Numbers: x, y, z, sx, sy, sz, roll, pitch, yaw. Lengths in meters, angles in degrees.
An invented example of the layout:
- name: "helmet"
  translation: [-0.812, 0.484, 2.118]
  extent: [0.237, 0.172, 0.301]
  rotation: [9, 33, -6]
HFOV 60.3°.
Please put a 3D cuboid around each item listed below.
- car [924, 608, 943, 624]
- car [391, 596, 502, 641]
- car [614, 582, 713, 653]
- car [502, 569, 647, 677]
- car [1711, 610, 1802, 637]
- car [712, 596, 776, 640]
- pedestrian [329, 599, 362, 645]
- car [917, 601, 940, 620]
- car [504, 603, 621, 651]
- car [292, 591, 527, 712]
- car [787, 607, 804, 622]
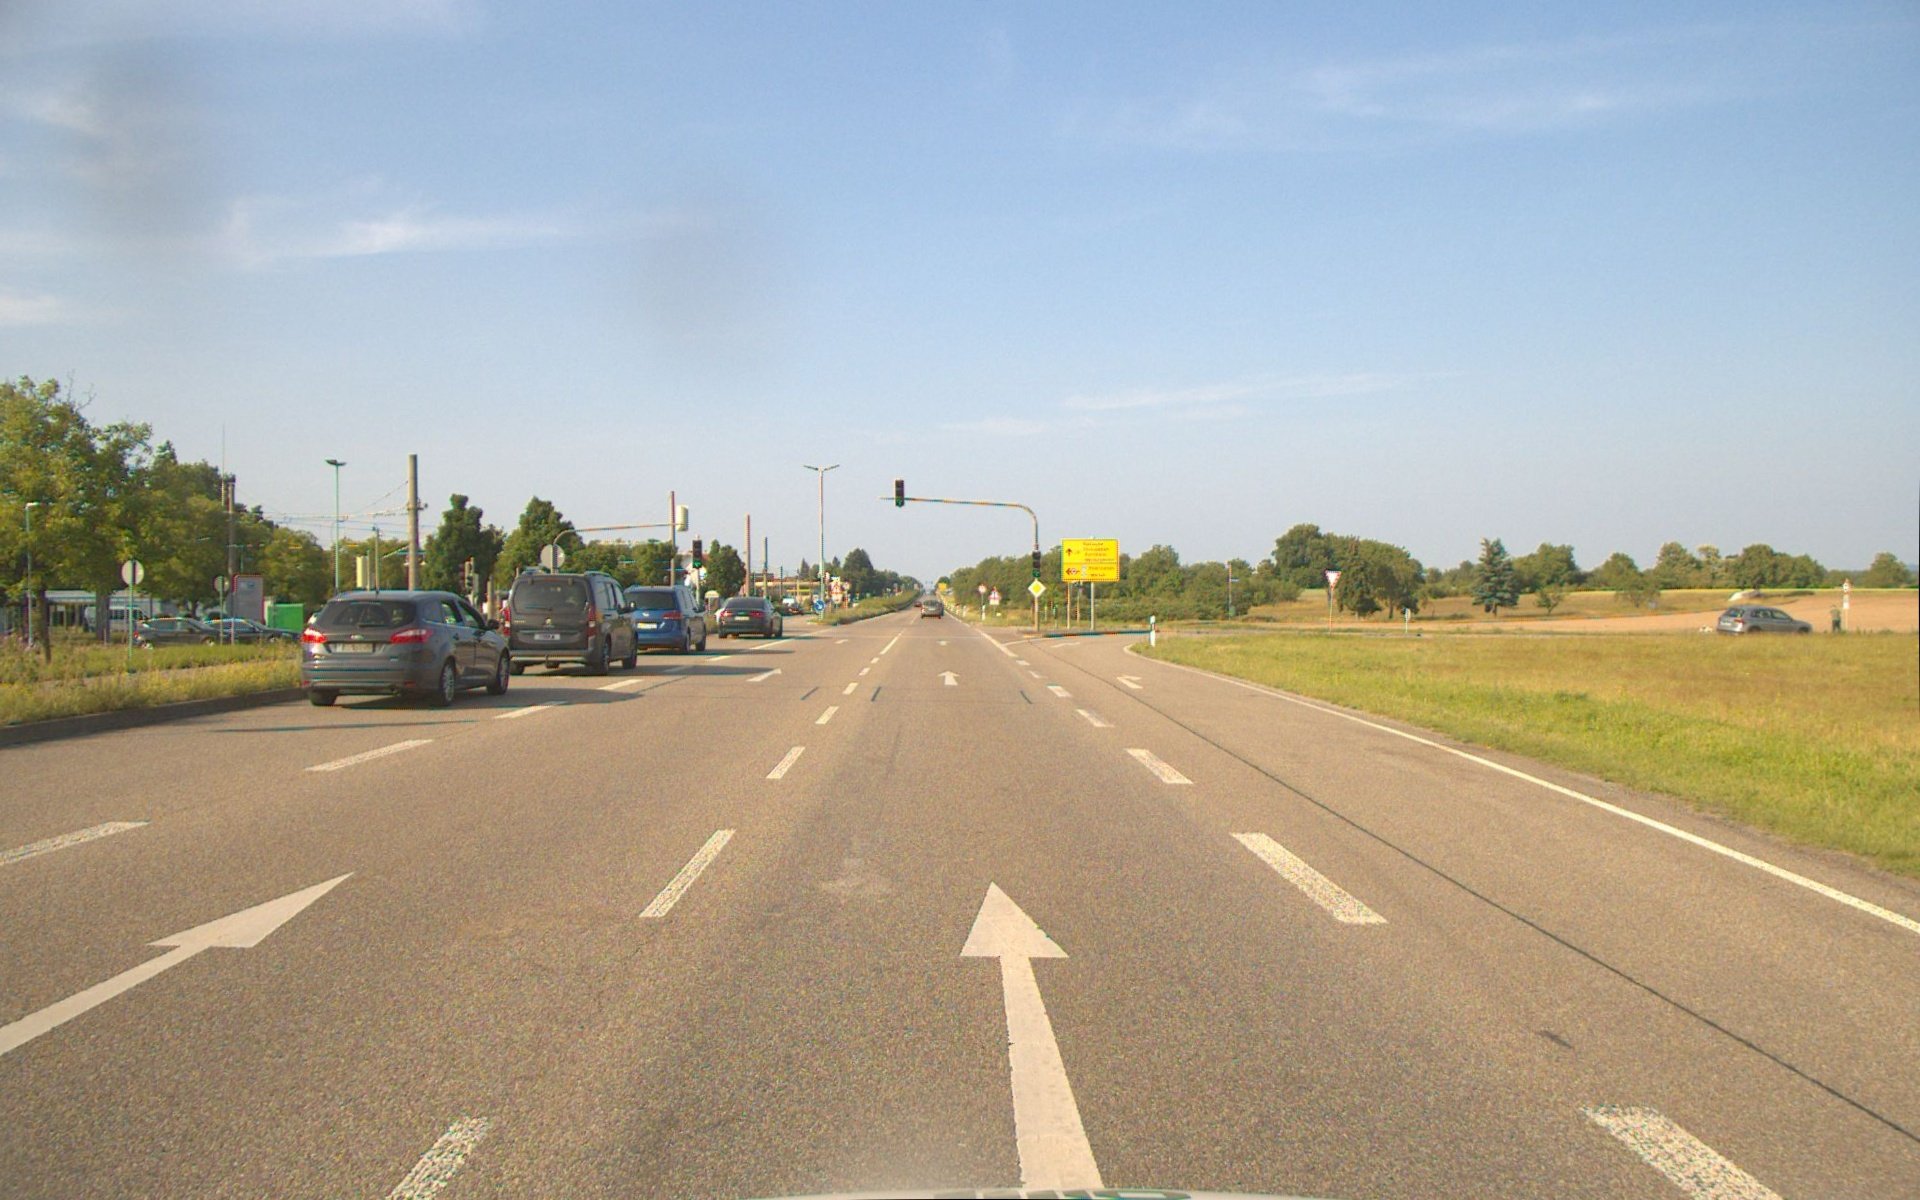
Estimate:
- name: "car"
  translation: [-2.778, 1.700, 174.382]
  extent: [1.953, 1.579, 4.000]
  rotation: [0, 0, 0]
- name: "car"
  translation: [-20.601, 0.738, 66.365]
  extent: [3.905, 1.691, 1.887]
  rotation: [1, -1, 22]
- name: "car"
  translation: [-7.508, 0.417, 42.227]
  extent: [1.734, 1.709, 4.519]
  rotation: [0, 0, 0]
- name: "car"
  translation: [-7.147, 0.385, 31.102]
  extent: [1.697, 1.888, 4.519]
  rotation: [0, 0, 0]
- name: "car"
  translation: [36.654, 1.073, 76.145]
  extent: [3.561, 1.240, 1.560]
  rotation: [0, 0, -9]
- name: "car"
  translation: [-7.595, 0.605, 58.471]
  extent: [1.734, 1.497, 4.015]
  rotation: [0, 0, 0]
- name: "pedestrian"
  translation: [-23.783, 0.845, 64.047]
  extent: [0.898, 1.736, 1.066]
  rotation: [2, -1, -7]
- name: "car"
  translation: [-2.692, 0.880, 142.972]
  extent: [1.953, 1.579, 4.000]
  rotation: [0, 0, 0]
- name: "car"
  translation: [-17.252, 1.179, 71.974]
  extent: [4.729, 2.049, 1.996]
  rotation: [0, -2, -8]
- name: "car"
  translation: [-7.298, 0.617, 22.413]
  extent: [1.697, 1.481, 4.519]
  rotation: [0, 0, 0]
- name: "car"
  translation: [-19.331, 1.652, 194.221]
  extent: [1.654, 1.691, 3.758]
  rotation: [0, 0, 0]
